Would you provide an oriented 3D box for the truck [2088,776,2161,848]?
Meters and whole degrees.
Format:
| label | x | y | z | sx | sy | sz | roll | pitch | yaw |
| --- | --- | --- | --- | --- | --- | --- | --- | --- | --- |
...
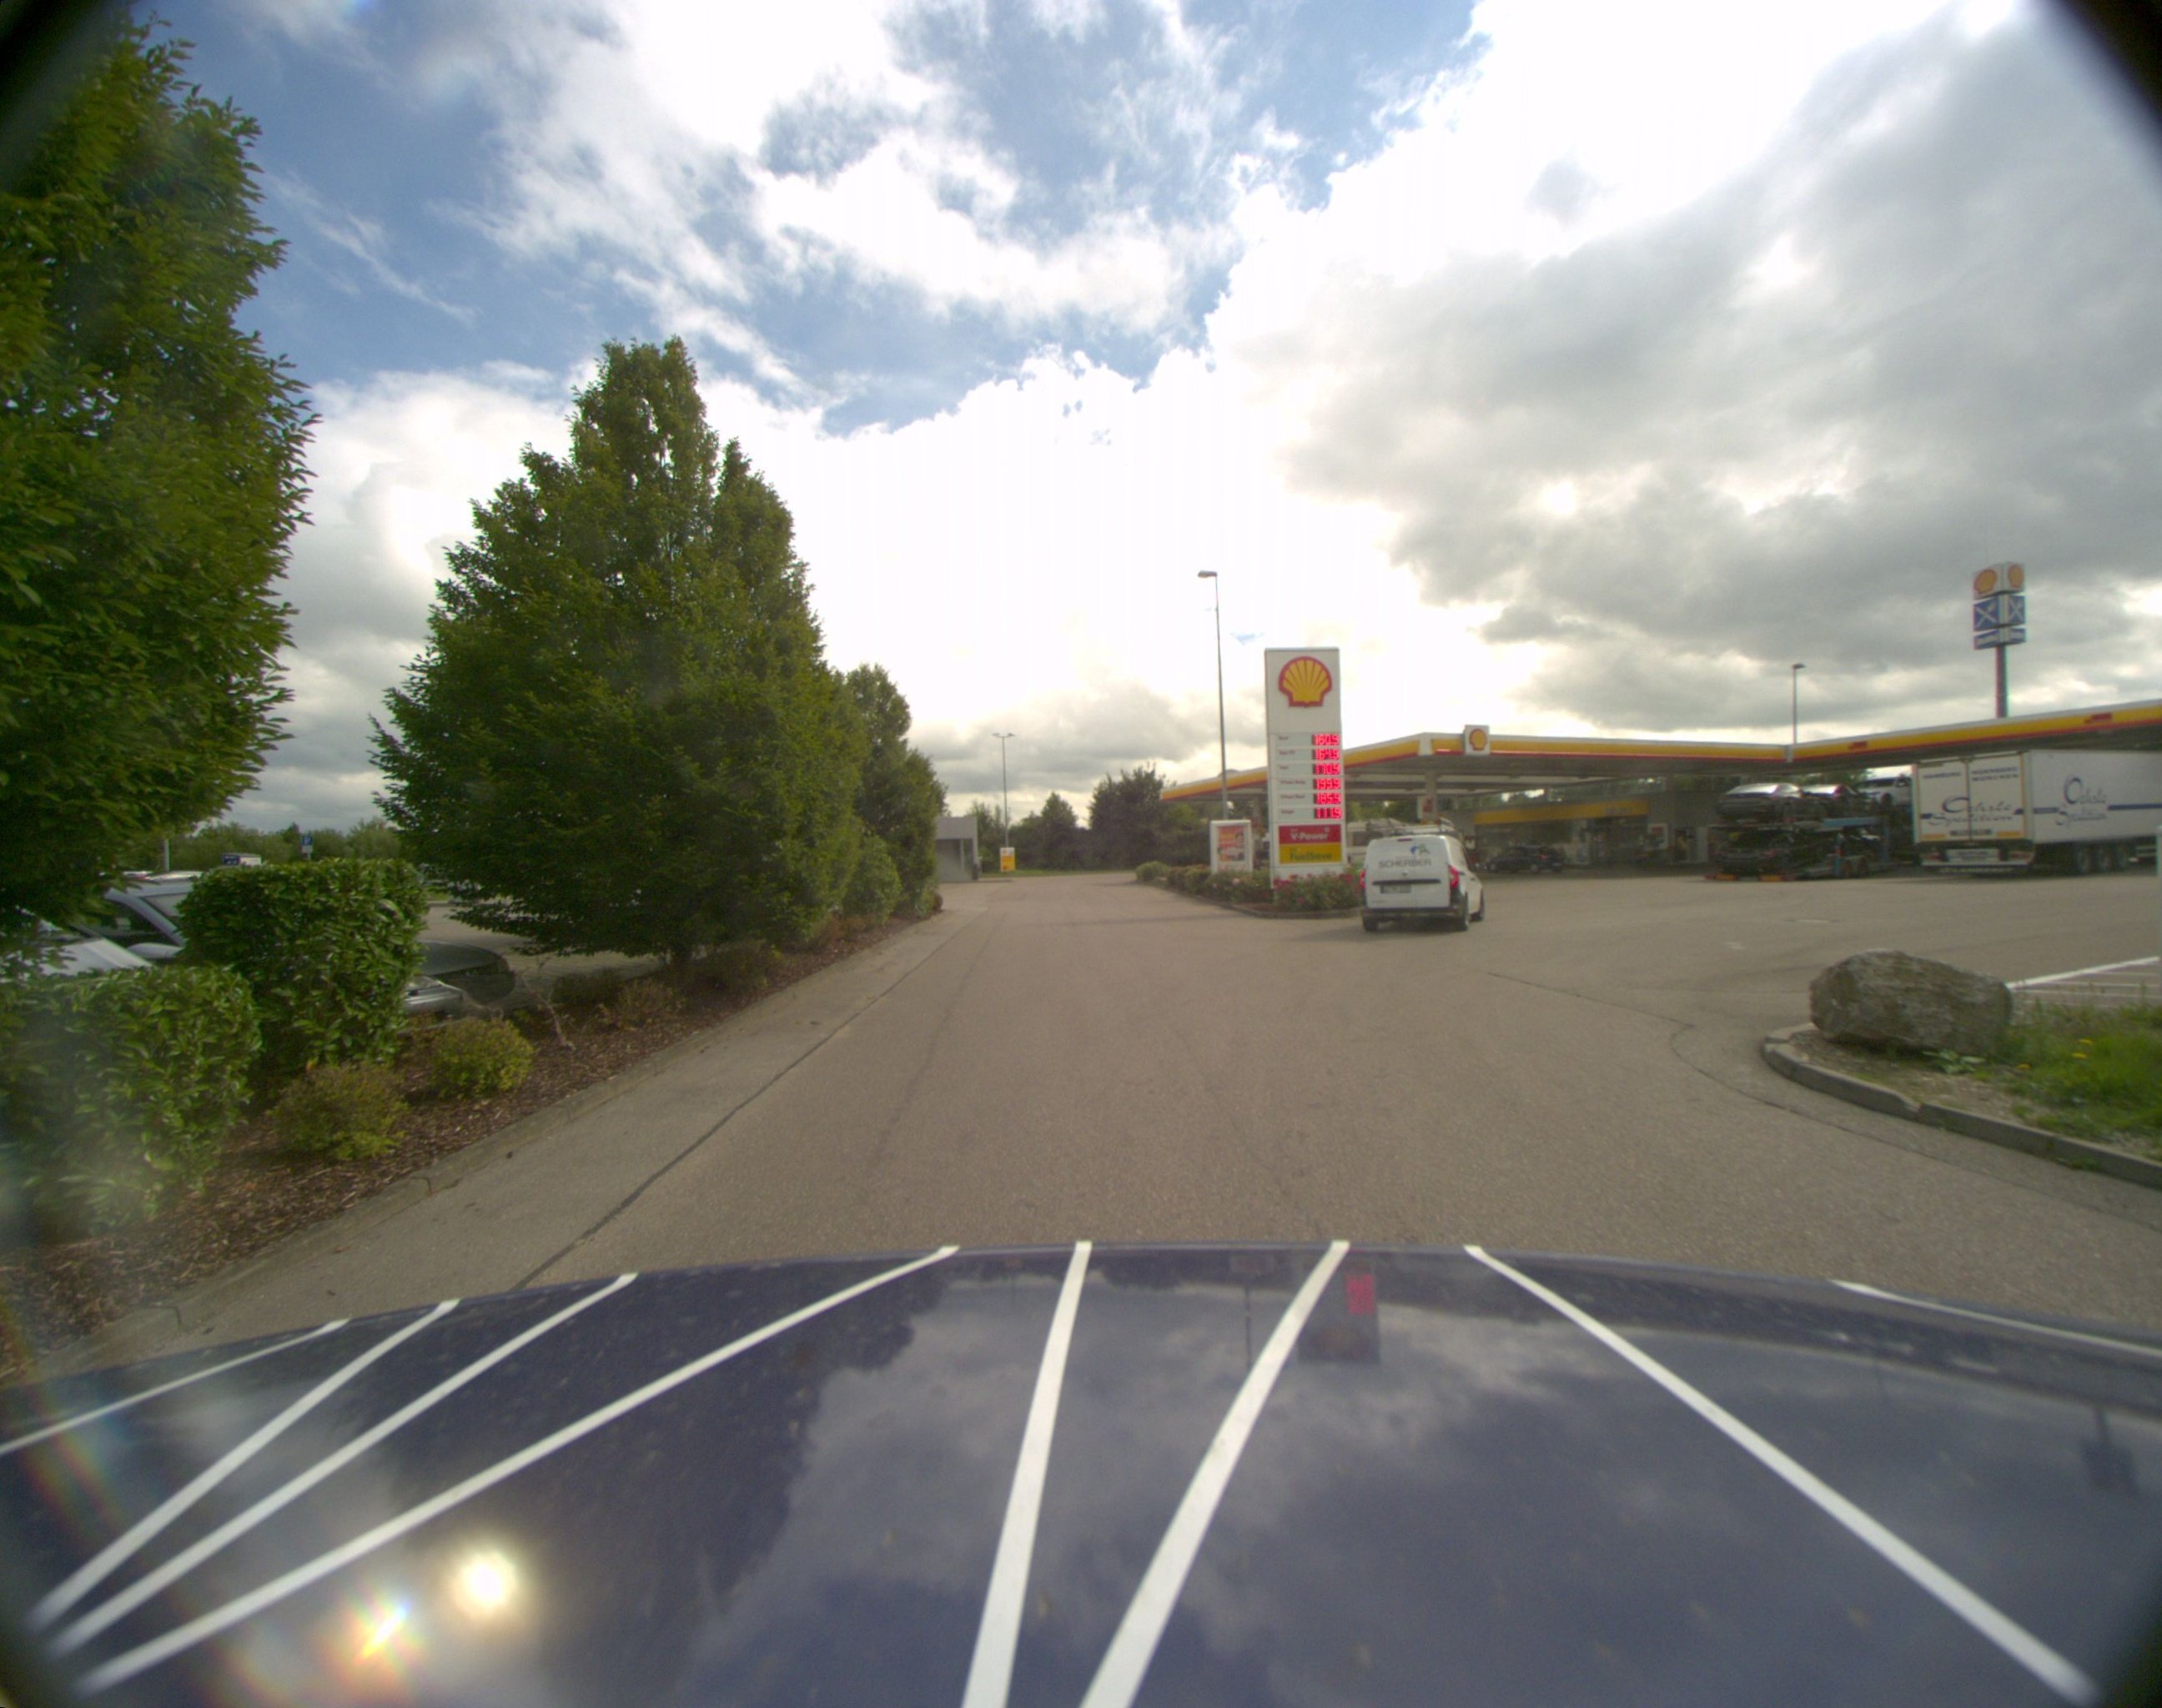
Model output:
| label | x | y | z | sx | sy | sz | roll | pitch | yaw |
| --- | --- | --- | --- | --- | --- | --- | --- | --- | --- |
| truck | 61.895 | -2.367 | 40.809 | 2.956 | 4.089 | 14.772 | -1 | 1 | 26 |

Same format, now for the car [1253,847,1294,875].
| label | x | y | z | sx | sy | sz | roll | pitch | yaw |
| --- | --- | --- | --- | --- | --- | --- | --- | --- | --- |
| car | 11.694 | 0.376 | 46.047 | 1.847 | 1.565 | 4.006 | -2 | 0 | 21 |

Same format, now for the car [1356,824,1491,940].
| label | x | y | z | sx | sy | sz | roll | pitch | yaw |
| --- | --- | --- | --- | --- | --- | --- | --- | --- | --- |
| car | 6.948 | 0.497 | 15.197 | 1.791 | 2.000 | 3.889 | -2 | 0 | 34 |

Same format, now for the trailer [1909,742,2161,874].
| label | x | y | z | sx | sy | sz | roll | pitch | yaw |
| --- | --- | --- | --- | --- | --- | --- | --- | --- | --- |
| trailer | 34.491 | -1.588 | 26.519 | 12.858 | 4.001 | 2.708 | -2 | 0 | -20 |

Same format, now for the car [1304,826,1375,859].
| label | x | y | z | sx | sy | sz | roll | pitch | yaw |
| --- | --- | --- | --- | --- | --- | --- | --- | --- | --- |
| car | 13.552 | -0.607 | 39.776 | 1.994 | 1.550 | 3.969 | -2 | 0 | 43 |

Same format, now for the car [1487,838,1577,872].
| label | x | y | z | sx | sy | sz | roll | pitch | yaw |
| --- | --- | --- | --- | --- | --- | --- | --- | --- | --- |
| car | 23.405 | 0.075 | 39.598 | 1.718 | 1.592 | 3.755 | -2 | 0 | -21 |

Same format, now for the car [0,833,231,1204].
| label | x | y | z | sx | sy | sz | roll | pitch | yaw |
| --- | --- | --- | --- | --- | --- | --- | --- | --- | --- |
| car | -7.167 | 0.832 | 3.582 | 4.360 | 1.706 | 1.657 | -2 | 0 | 0 |

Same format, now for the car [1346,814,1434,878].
| label | x | y | z | sx | sy | sz | roll | pitch | yaw |
| --- | --- | --- | --- | --- | --- | --- | --- | --- | --- |
| car | 14.826 | -0.368 | 36.222 | 2.218 | 2.770 | 5.820 | -2 | 0 | 39 |

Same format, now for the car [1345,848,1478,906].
| label | x | y | z | sx | sy | sz | roll | pitch | yaw |
| --- | --- | --- | --- | --- | --- | --- | --- | --- | --- |
| car | 9.891 | 0.663 | 23.038 | 1.580 | 1.538 | 3.716 | -2 | 0 | -18 |

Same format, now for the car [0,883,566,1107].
| label | x | y | z | sx | sy | sz | roll | pitch | yaw |
| --- | --- | --- | --- | --- | --- | --- | --- | --- | --- |
| car | -6.683 | 1.003 | 5.972 | 3.998 | 1.342 | 1.725 | -2 | 0 | -3 |

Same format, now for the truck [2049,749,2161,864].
| label | x | y | z | sx | sy | sz | roll | pitch | yaw |
| --- | --- | --- | --- | --- | --- | --- | --- | --- | --- |
| truck | 40.500 | -1.737 | 28.678 | 7.175 | 4.001 | 2.708 | -2 | 0 | -20 |

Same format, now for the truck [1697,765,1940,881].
| label | x | y | z | sx | sy | sz | roll | pitch | yaw |
| --- | --- | --- | --- | --- | --- | --- | --- | --- | --- |
| truck | 29.289 | -1.255 | 29.871 | 13.276 | 3.901 | 2.746 | -2 | 1 | -27 |
